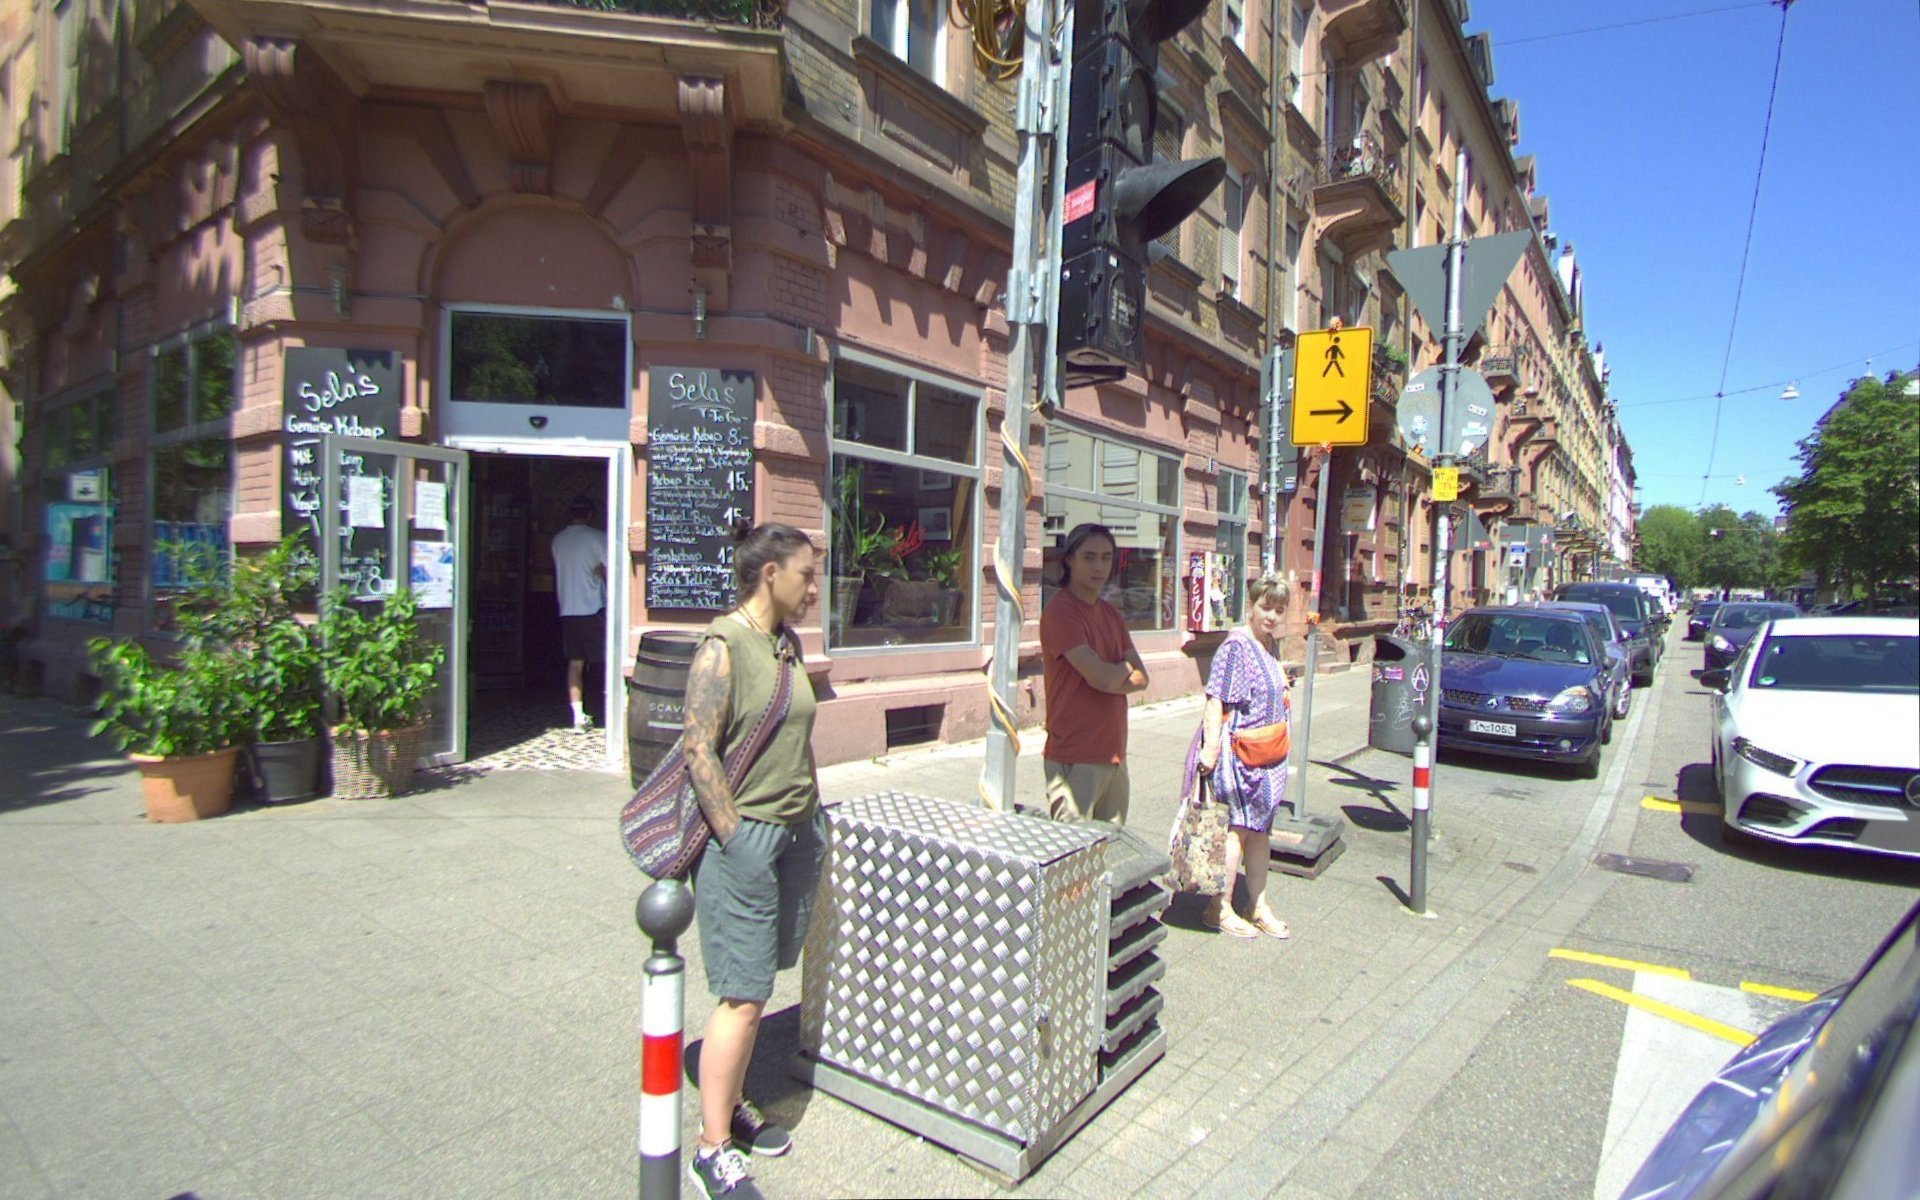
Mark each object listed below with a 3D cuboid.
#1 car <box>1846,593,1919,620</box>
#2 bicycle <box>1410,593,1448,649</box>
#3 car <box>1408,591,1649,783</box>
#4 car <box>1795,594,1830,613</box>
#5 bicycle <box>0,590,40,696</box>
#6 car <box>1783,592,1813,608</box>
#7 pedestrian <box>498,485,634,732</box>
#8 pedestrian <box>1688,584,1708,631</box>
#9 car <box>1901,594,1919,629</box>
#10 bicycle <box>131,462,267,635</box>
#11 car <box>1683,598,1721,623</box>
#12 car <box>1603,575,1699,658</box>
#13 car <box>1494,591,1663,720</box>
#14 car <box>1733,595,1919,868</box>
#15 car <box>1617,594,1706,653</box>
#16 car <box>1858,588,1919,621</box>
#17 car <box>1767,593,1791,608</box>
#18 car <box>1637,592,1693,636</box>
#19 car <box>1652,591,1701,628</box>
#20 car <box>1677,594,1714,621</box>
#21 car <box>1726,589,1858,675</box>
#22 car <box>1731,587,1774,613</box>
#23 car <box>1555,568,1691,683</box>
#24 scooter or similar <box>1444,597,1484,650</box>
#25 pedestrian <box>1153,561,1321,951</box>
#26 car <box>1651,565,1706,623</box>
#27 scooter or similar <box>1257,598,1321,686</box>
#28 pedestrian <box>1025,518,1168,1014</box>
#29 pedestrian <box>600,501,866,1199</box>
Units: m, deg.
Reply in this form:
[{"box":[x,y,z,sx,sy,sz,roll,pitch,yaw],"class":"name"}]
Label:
[{"box":[54.378,0.370,59.084,3.867,1.515,1.630,2,1,37],"class":"car"},{"box":[9.772,0.425,21.067,0.353,1.117,1.732,1,1,37],"class":"bicycle"},{"box":[5.665,0.664,9.886,1.623,1.450,3.613,3,2,36],"class":"car"},{"box":[72.288,0.289,85.852,1.988,1.533,3.947,-1,0,37],"class":"car"},{"box":[-10.160,0.422,10.596,1.688,1.020,0.515,2,1,39],"class":"bicycle"},{"box":[82.629,-0.023,99.832,1.988,1.533,3.947,-1,0,37],"class":"car"},{"box":[-3.038,0.061,7.852,0.922,1.841,0.458,1,3,-13],"class":"pedestrian"},{"box":[30.976,0.306,42.478,0.632,1.938,0.365,1,0,38],"class":"pedestrian"},{"box":[44.062,0.529,44.429,3.867,1.548,1.630,2,1,37],"class":"car"},{"box":[-5.650,-0.366,7.488,1.420,1.166,0.502,1,1,40],"class":"bicycle"},{"box":[40.855,0.553,55.741,1.523,1.317,3.642,0,1,34],"class":"car"},{"box":[16.179,0.327,23.618,1.697,1.755,3.947,0,0,37],"class":"car"},{"box":[8.805,0.637,14.229,1.720,1.450,4.429,3,2,35],"class":"car"},{"box":[6.502,0.708,6.962,1.805,1.443,4.185,1,1,37],"class":"car"},{"box":[19.111,0.588,27.713,1.752,1.468,3.862,0,1,31],"class":"car"},{"box":[51.182,0.246,54.667,3.867,1.769,1.630,2,1,37],"class":"car"},{"box":[95.351,0.029,117.898,1.988,1.705,3.947,-1,0,37],"class":"car"},{"box":[25.406,0.458,36.538,1.592,1.480,3.645,0,1,34],"class":"car"},{"box":[31.833,0.385,45.023,1.671,1.556,3.951,0,1,34],"class":"car"},{"box":[44.857,0.416,61.756,1.671,1.556,3.951,0,1,34],"class":"car"},{"box":[16.065,0.541,19.710,1.771,1.487,3.947,-1,0,37],"class":"car"},{"box":[45.986,-0.012,58.782,1.739,1.407,3.949,1,1,36],"class":"car"},{"box":[12.096,0.369,18.405,1.819,1.788,4.283,3,2,35],"class":"car"},{"box":[11.644,0.520,23.349,0.475,1.167,2.121,1,0,36],"class":"scooter or similar"},{"box":[1.201,0.626,4.399,0.493,1.562,0.429,4,3,43],"class":"pedestrian"},{"box":[35.429,-0.293,49.848,2.057,2.737,4.972,-1,0,37],"class":"car"},{"box":[4.657,0.576,14.291,1.250,1.192,0.293,0,0,-44],"class":"scooter or similar"},{"box":[0.502,0.565,3.716,0.332,1.696,0.395,1,1,43],"class":"pedestrian"},{"box":[-0.576,0.564,2.576,0.459,1.580,0.471,1,1,43],"class":"pedestrian"}]
